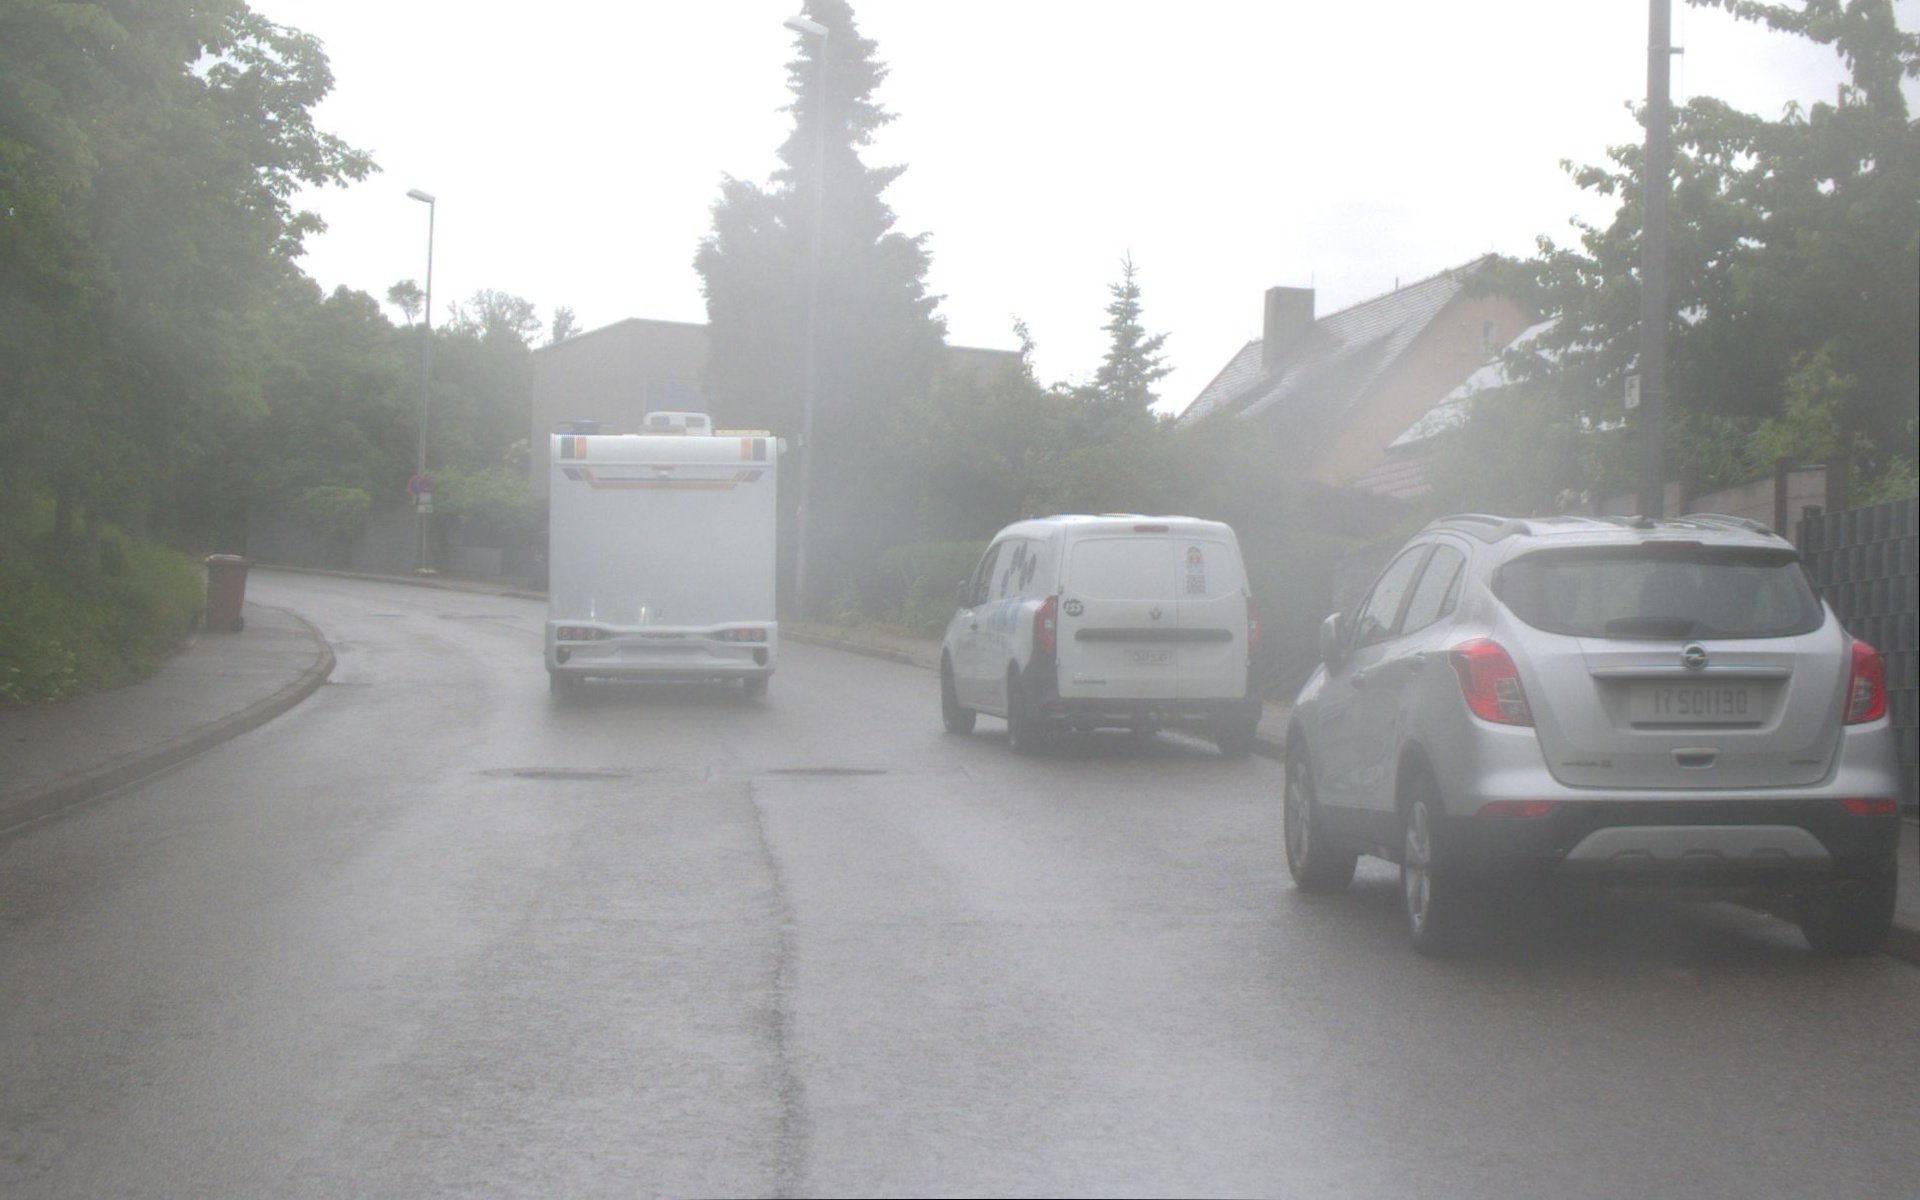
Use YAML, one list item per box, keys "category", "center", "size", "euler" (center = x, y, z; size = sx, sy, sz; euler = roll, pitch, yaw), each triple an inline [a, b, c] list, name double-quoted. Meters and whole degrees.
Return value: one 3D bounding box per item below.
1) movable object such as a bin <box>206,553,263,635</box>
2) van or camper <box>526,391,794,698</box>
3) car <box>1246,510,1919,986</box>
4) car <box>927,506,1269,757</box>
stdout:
- category: "movable object such as a bin"
  center: [-10.531, -0.090, 49.934]
  size: [0.694, 1.086, 0.803]
  euler: [3, 4, -8]
- category: "van or camper"
  center: [-3.211, -0.554, 36.068]
  size: [2.539, 2.915, 5.949]
  euler: [1, 0, -6]
- category: "car"
  center: [2.433, 0.485, 14.144]
  size: [1.804, 1.621, 4.288]
  euler: [-1, 1, -5]
- category: "car"
  center: [0.984, 0.213, 27.166]
  size: [1.778, 1.797, 4.708]
  euler: [1, 0, -9]
